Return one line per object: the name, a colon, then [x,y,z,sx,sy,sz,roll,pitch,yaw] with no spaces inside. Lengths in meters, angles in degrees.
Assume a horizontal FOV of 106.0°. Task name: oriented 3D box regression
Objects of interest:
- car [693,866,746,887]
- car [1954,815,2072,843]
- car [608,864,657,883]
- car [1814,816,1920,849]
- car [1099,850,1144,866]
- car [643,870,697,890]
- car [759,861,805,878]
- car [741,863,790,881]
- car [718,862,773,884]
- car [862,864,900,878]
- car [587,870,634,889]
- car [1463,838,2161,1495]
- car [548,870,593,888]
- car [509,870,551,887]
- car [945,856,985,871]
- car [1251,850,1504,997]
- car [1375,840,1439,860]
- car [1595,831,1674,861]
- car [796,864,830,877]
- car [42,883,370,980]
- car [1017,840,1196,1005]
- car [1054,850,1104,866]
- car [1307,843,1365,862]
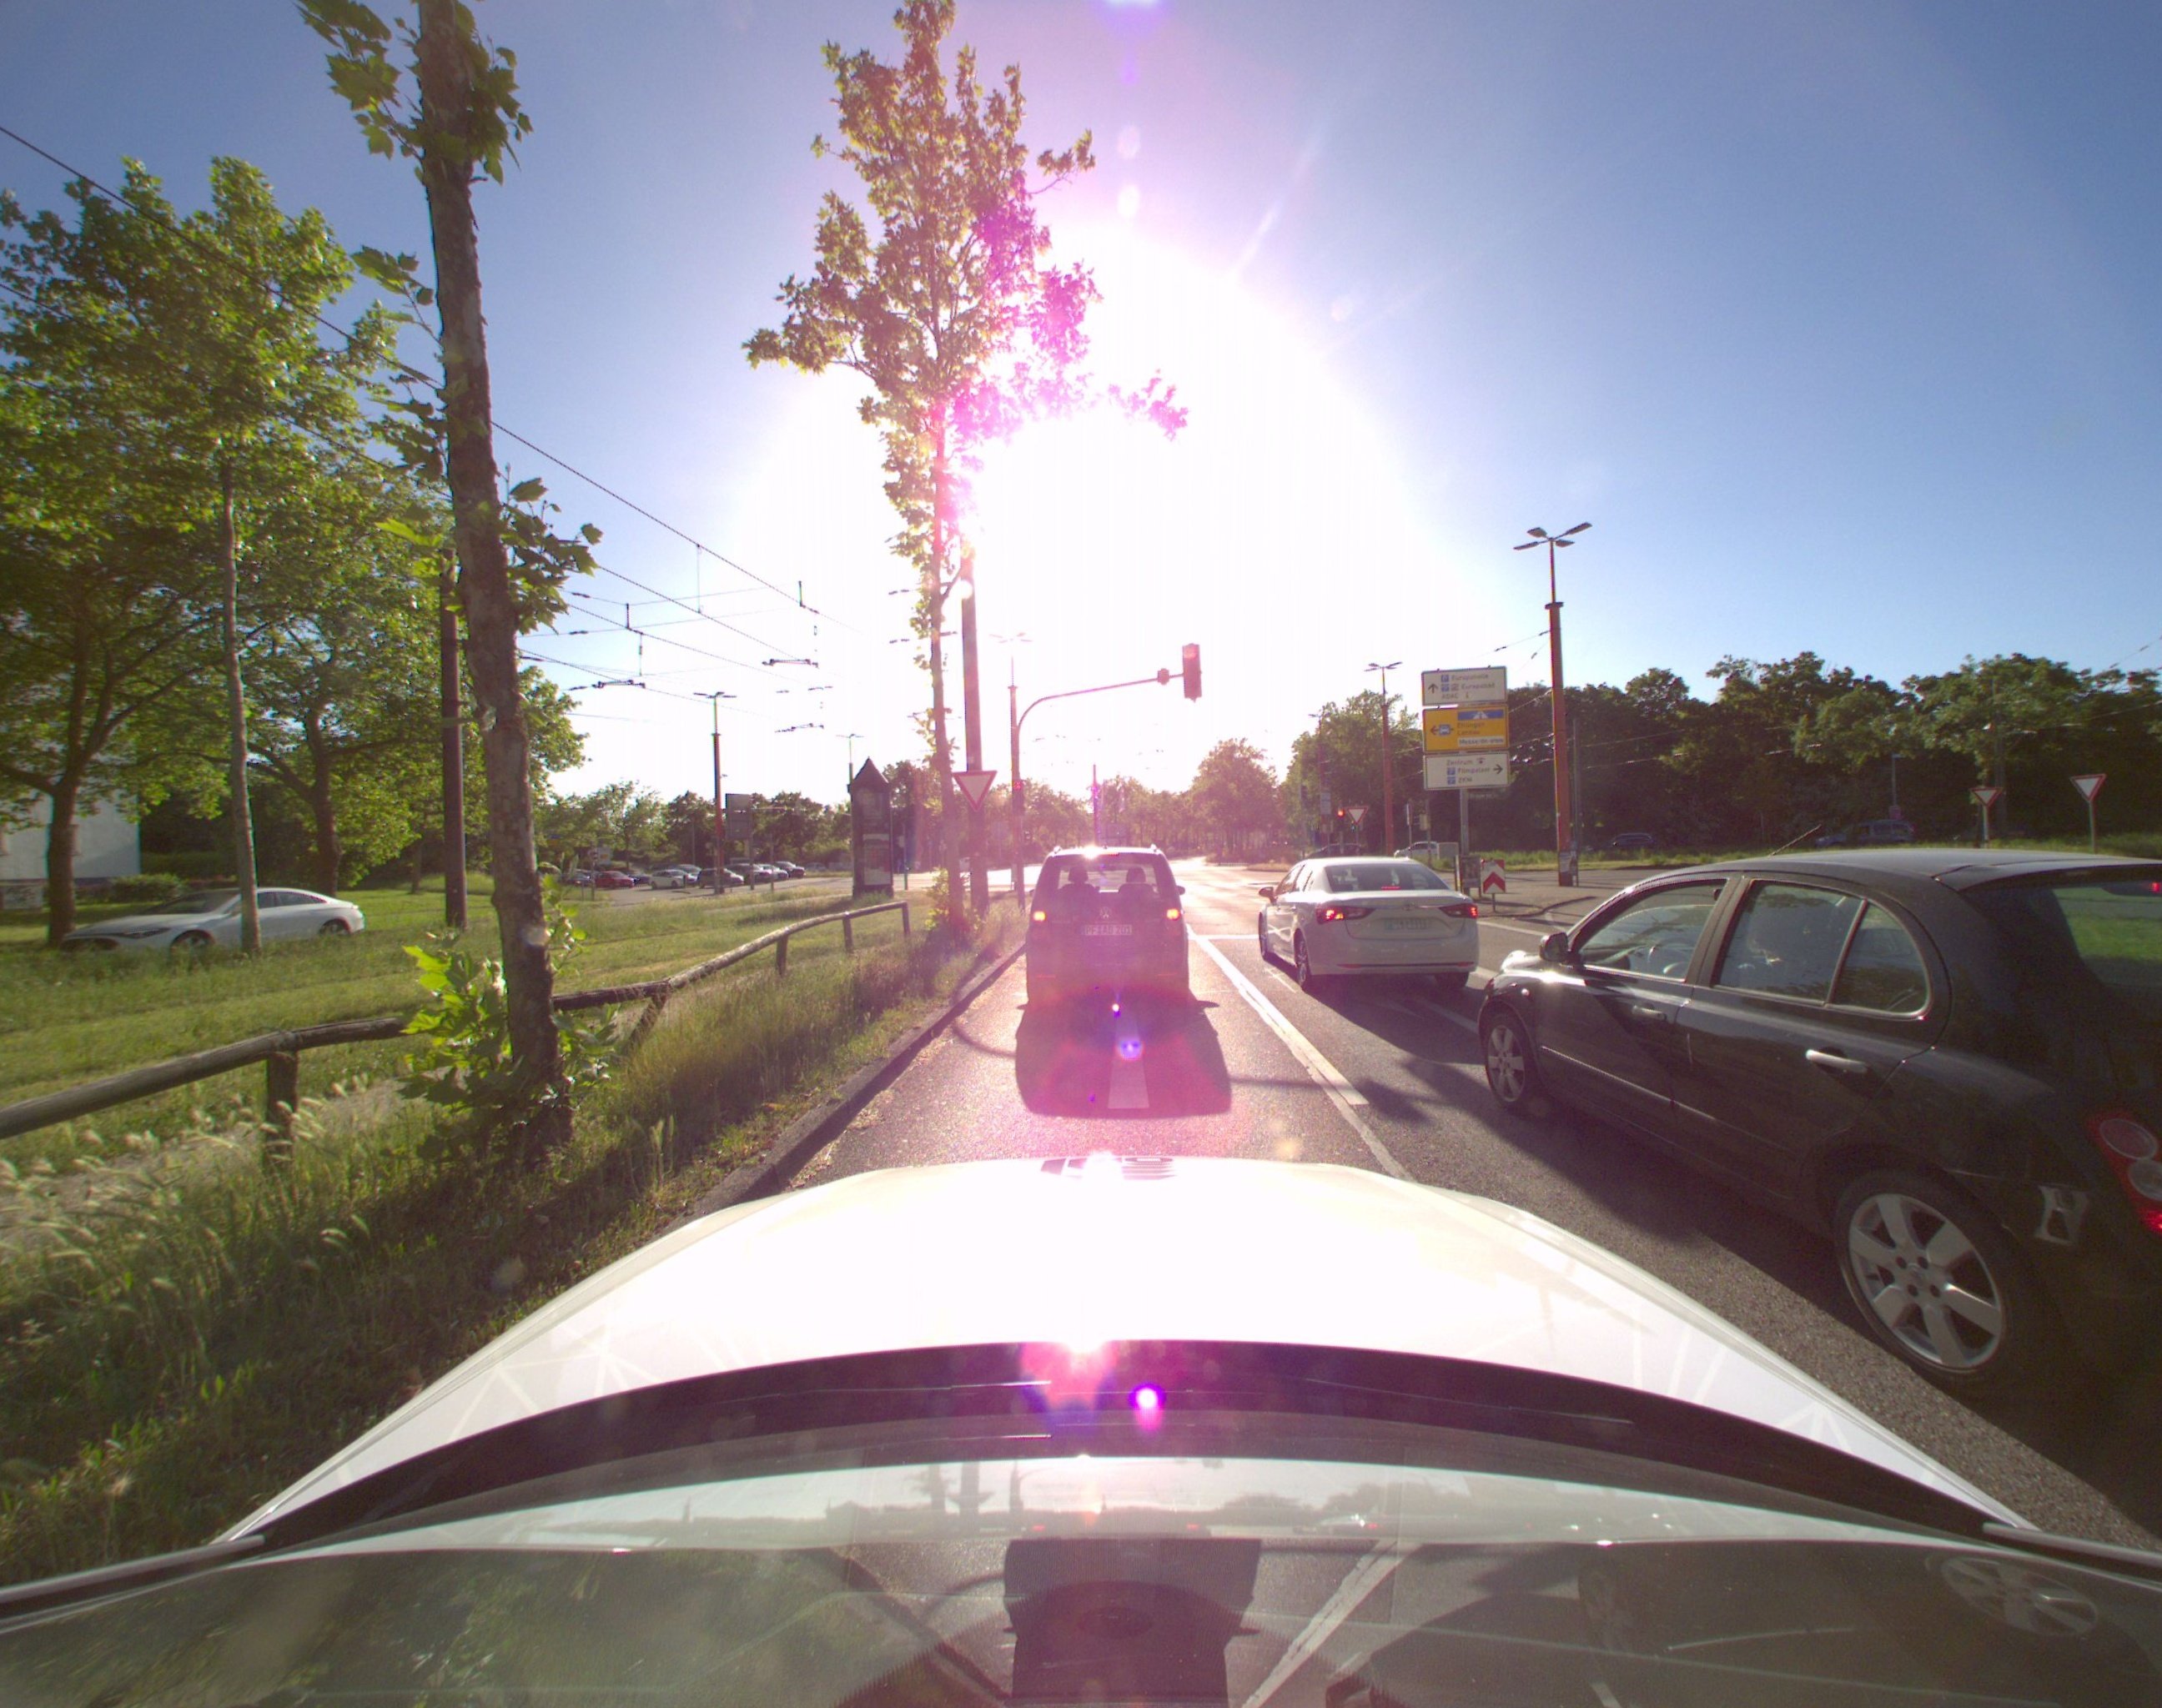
car: [-27.335,1.696,61.574,3.793,1.441,1.667,-1,0,29]
car: [53.228,-1.405,46.610,4.080,1.403,1.666,-1,0,27]
car: [-40.461,1.728,73.437,4.583,1.647,1.767,-1,0,32]
car: [45.213,-1.215,46.958,4.079,1.791,1.810,-1,0,31]
car: [3.677,0.376,73.932,3.755,1.403,1.667,-1,0,29]
car: [-32.670,2.075,64.738,4.577,1.520,1.667,-1,0,32]
car: [-26.735,1.383,72.818,4.102,1.415,1.553,-1,0,28]
car: [-26.838,1.524,69.193,4.102,1.415,1.553,-1,0,28]
car: [-26.931,1.517,65.356,4.583,1.647,1.667,-1,0,32]
car: [-20.583,1.767,83.658,3.755,1.403,1.667,-1,0,32]
car: [-39.447,2.151,68.256,4.145,1.520,1.667,-1,0,32]
car: [3.175,0.693,3.496,1.570,1.440,3.443,0,-1,2]
car: [-45.084,2.222,71.907,4.145,1.520,1.667,-1,0,32]
car: [-51.131,2.262,75.527,4.145,1.520,1.667,-1,0,32]
car: [-11.740,0.971,82.546,3.756,1.403,1.667,-1,0,28]
car: [3.368,0.707,10.195,1.792,1.440,4.329,0,0,3]
car: [23.647,-0.275,59.132,4.079,1.403,1.667,-1,0,29]
car: [35.564,-0.506,52.483,4.079,1.791,1.810,-1,0,30]
car: [-30.498,1.918,92.713,3.755,1.403,1.667,-1,0,32]
car: [-17.544,1.467,16.760,1.645,1.510,4.643,-1,0,1]
car: [0.361,0.688,10.090,1.731,1.602,4.329,0,-1,3]
car: [-0.195,0.346,72.414,4.081,1.403,1.666,-1,0,25]
car: [20.274,-0.123,64.797,4.079,1.471,1.667,-1,0,31]
